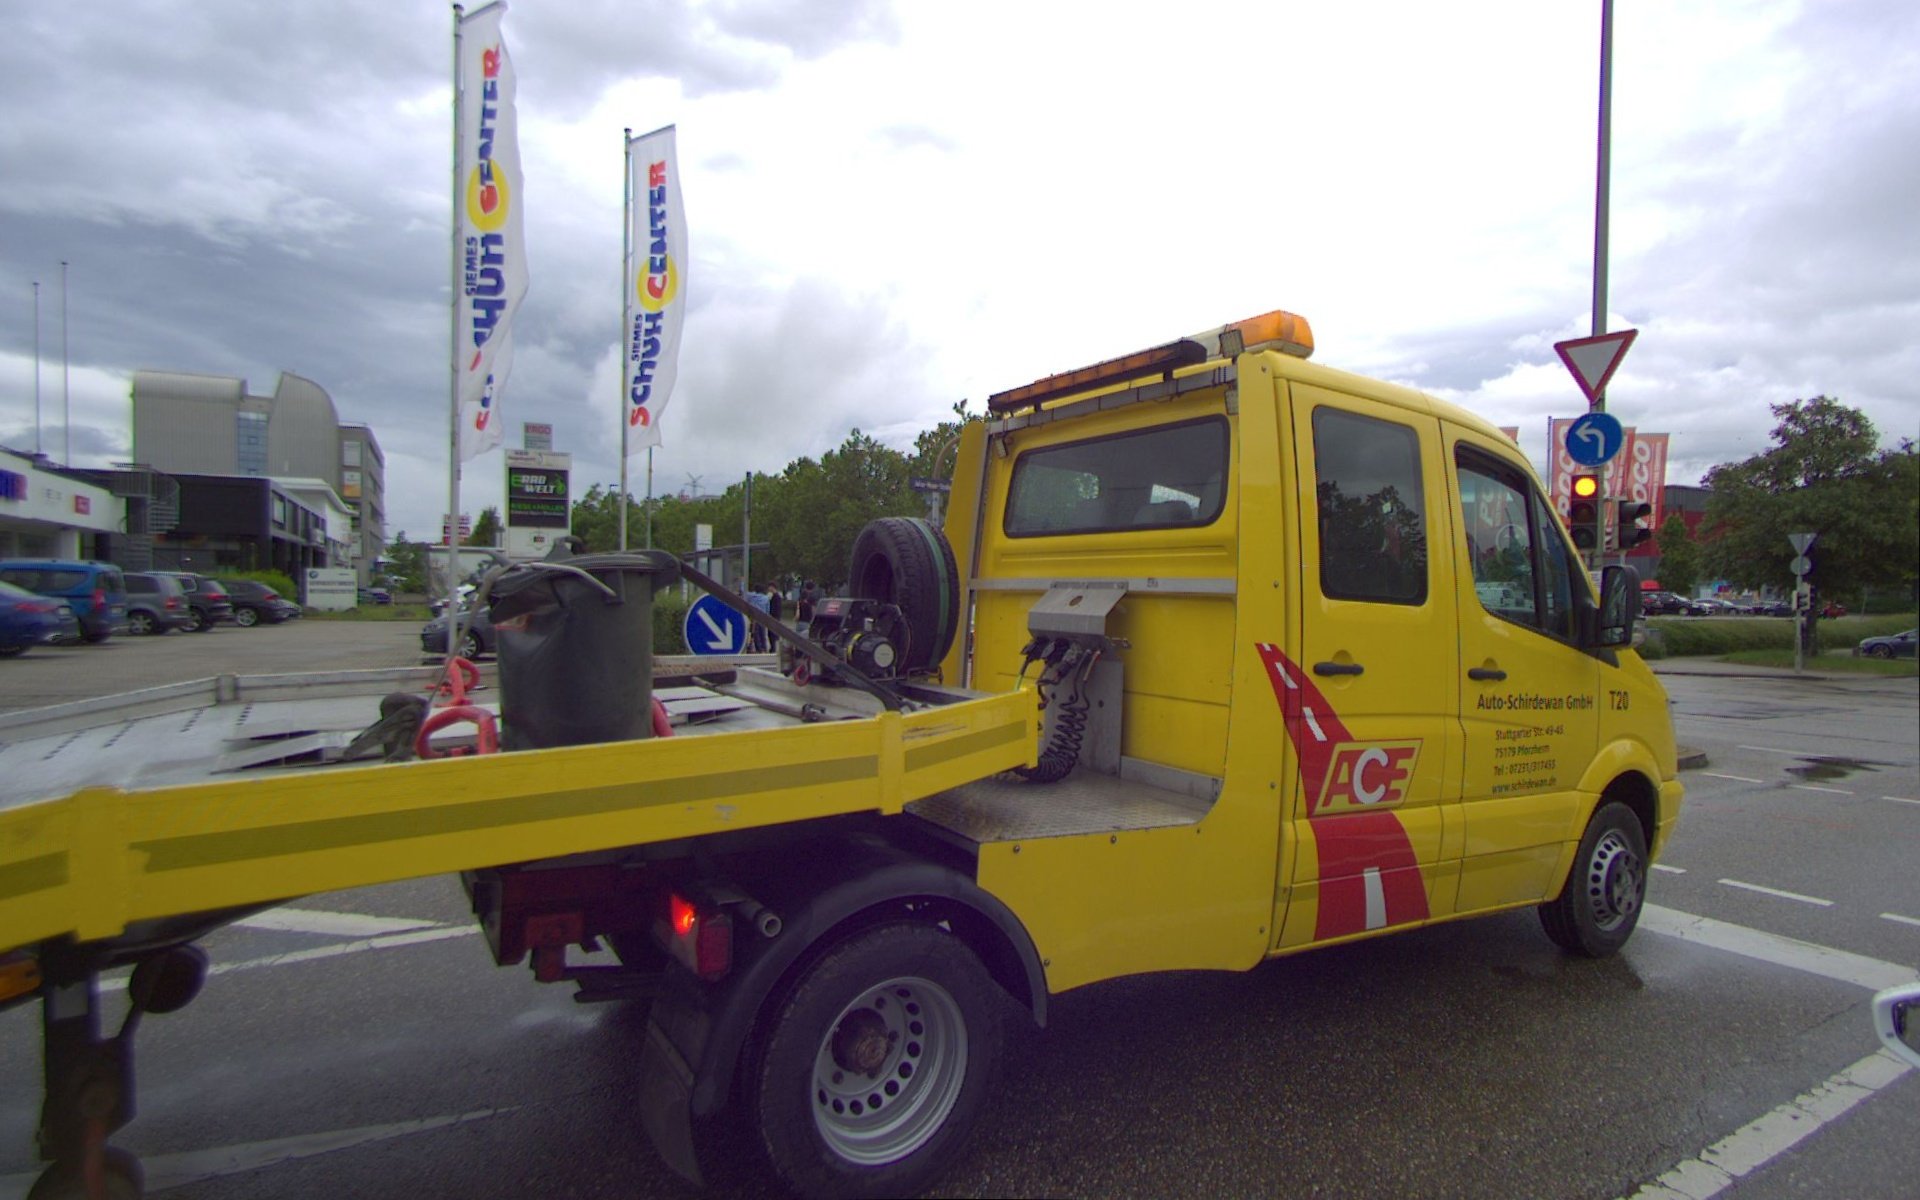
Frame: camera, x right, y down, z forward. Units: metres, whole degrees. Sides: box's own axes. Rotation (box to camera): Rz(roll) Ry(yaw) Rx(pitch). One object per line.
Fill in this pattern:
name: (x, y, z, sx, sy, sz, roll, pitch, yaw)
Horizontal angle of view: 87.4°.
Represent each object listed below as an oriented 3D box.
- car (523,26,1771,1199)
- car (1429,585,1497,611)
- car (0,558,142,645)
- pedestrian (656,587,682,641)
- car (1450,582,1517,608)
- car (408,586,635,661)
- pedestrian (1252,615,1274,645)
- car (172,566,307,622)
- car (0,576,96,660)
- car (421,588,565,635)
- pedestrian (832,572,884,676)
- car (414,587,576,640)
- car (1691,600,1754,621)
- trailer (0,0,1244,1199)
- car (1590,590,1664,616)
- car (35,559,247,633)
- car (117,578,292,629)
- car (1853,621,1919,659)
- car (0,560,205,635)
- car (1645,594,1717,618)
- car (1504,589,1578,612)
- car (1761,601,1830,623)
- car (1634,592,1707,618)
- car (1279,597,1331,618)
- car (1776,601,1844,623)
car: (1.035, 0.226, 4.228, 4.960, 2.506, 2.227, 2, -1, -32)
car: (33.339, -0.137, 66.646, 1.652, 1.667, 3.799, 2, -1, -28)
car: (-20.531, 0.013, 21.497, 4.319, 1.787, 1.884, 2, -1, -27)
pedestrian: (-9.538, 0.457, 32.935, 0.692, 1.733, 0.693, 2, -1, -26)
car: (35.652, -0.312, 68.523, 1.612, 1.667, 3.799, 2, -1, -28)
car: (-8.904, 0.490, 20.656, 4.069, 1.412, 1.813, 2, -1, -24)
pedestrian: (14.908, 1.466, 49.421, 0.773, 1.450, 0.635, 3, -1, -33)
car: (-28.243, -0.220, 39.546, 3.944, 2.040, 1.900, 2, -1, -24)
car: (-17.694, 0.267, 16.973, 4.319, 1.412, 1.811, 2, -1, -27)
car: (-15.033, 0.388, 32.410, 4.074, 1.412, 1.811, 2, -1, -27)
pedestrian: (-2.051, 0.481, 20.306, 0.683, 2.040, 0.816, 2, -1, 20)
car: (-13.311, 0.402, 28.869, 4.074, 1.412, 1.886, 2, -1, -27)
car: (63.221, 0.849, 83.357, 1.652, 1.667, 3.799, 2, -1, -28)
trailer: (-3.181, 0.099, 1.568, 7.884, 2.506, 2.291, 2, -1, -32)
car: (44.495, 0.204, 67.120, 1.652, 1.667, 3.799, 2, -1, -28)
car: (-23.192, -0.078, 28.688, 4.319, 1.931, 1.884, 2, -1, -27)
car: (-24.986, 0.137, 33.438, 4.319, 1.518, 1.884, 2, -1, -27)
car: (41.232, 1.751, 43.455, 1.669, 1.573, 3.624, 2, -1, -36)
car: (-22.516, -0.031, 26.104, 4.319, 1.787, 1.884, 2, -1, -27)
car: (51.000, 0.421, 71.101, 1.652, 1.667, 3.799, 2, -1, -28)
car: (37.579, 0.062, 65.052, 1.652, 1.399, 3.881, 2, -1, -28)
car: (65.471, 0.897, 78.740, 1.652, 1.667, 3.799, 2, -1, -28)
car: (48.941, 0.349, 69.277, 1.652, 1.667, 3.799, 2, -1, -28)
car: (28.313, 0.578, 82.518, 1.652, 1.667, 3.934, 2, -1, -28)
car: (67.814, 0.975, 80.188, 1.652, 1.667, 3.799, 2, -1, -28)
